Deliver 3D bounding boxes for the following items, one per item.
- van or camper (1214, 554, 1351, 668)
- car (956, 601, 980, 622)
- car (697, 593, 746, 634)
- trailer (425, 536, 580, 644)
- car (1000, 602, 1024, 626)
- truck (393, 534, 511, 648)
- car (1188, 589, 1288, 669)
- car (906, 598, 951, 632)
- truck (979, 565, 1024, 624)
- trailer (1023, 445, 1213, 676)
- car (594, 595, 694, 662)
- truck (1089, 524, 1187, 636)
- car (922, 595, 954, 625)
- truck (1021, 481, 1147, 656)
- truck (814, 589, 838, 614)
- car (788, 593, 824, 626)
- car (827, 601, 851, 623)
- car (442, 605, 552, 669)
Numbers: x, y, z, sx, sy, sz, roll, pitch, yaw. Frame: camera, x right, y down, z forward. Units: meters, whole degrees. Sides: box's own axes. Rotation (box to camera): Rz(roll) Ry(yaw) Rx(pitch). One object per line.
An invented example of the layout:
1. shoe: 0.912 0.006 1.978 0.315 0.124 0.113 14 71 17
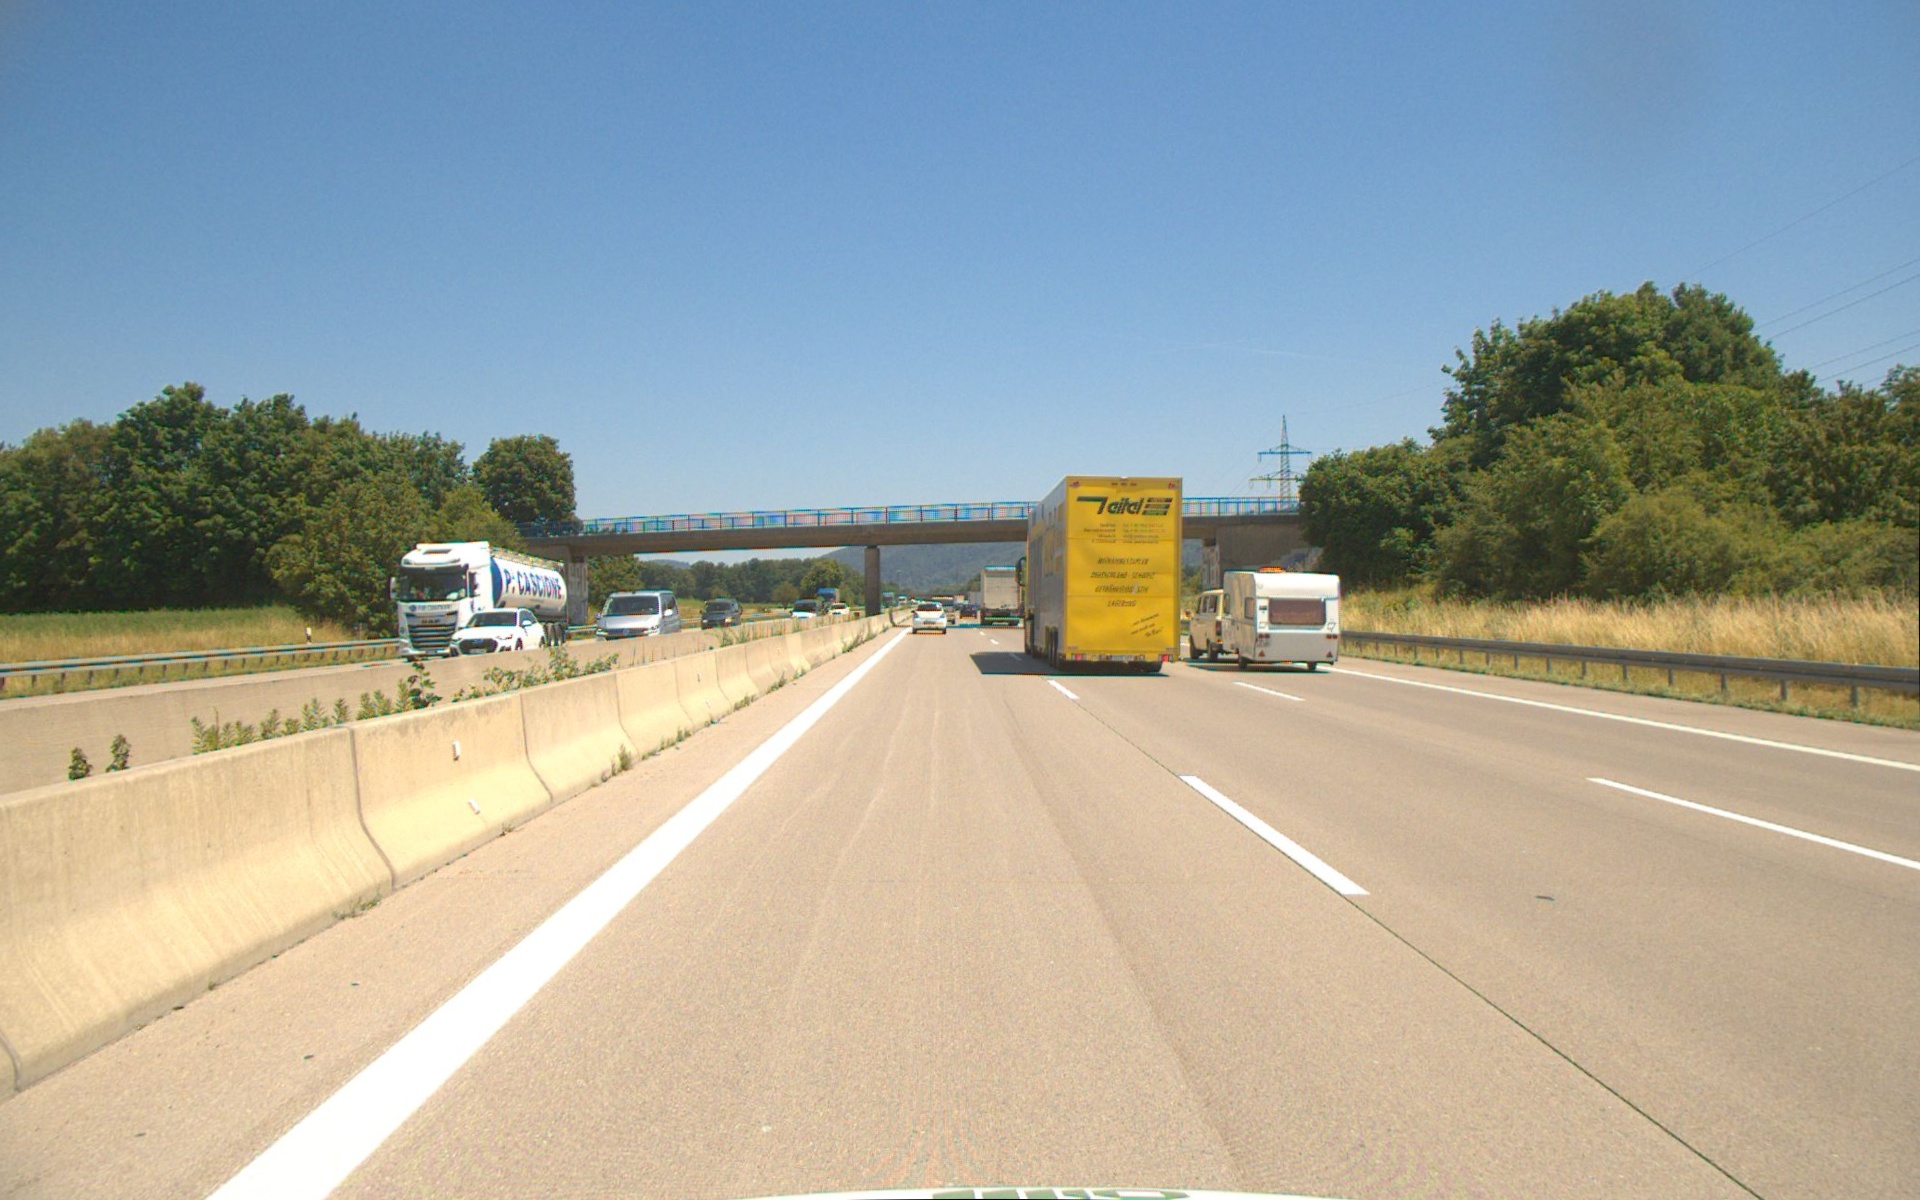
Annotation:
1. van or camper: 7.763 0.242 40.375 2.179 2.575 5.429 1 0 -1
2. car: 0.777 1.109 163.493 2.177 2.049 3.999 1 0 -1
3. car: -13.388 0.730 93.174 1.953 2.175 5.881 -2 0 -1
4. trailer: -17.289 -0.372 63.609 2.521 3.694 12.853 1 0 -1
5. car: 4.663 1.272 148.586 1.953 2.049 3.999 1 0 -1
6. truck: -17.144 -0.301 56.063 2.549 3.651 4.718 1 0 -1
7. car: 7.525 0.739 45.127 1.953 2.049 3.999 1 0 -1
8. car: -1.531 0.721 81.084 2.064 1.563 4.122 1 0 0
9. truck: 2.810 -0.371 113.047 2.763 3.827 6.282 1 0 -1
10. trailer: 3.478 -0.835 40.386 3.150 4.643 13.455 1 0 -1
11. car: -9.089 0.773 47.983 1.953 1.765 5.113 -2 0 -1
12. truck: 7.412 -0.805 70.258 2.938 4.390 9.682 1 0 -1
13. car: -1.580 0.704 118.874 2.208 2.049 4.297 1 0 0
14. truck: 3.448 -0.865 47.396 3.150 4.643 5.836 1 0 0
15. truck: -19.693 0.199 243.256 2.925 3.622 7.491 1 0 -1
16. car: -9.857 0.576 106.016 1.828 2.015 4.788 -2 0 -1
17. car: -10.677 1.014 146.323 1.828 1.871 4.788 -1 0 -1
18. car: -13.212 1.019 47.482 1.884 1.639 4.684 -2 0 -1
